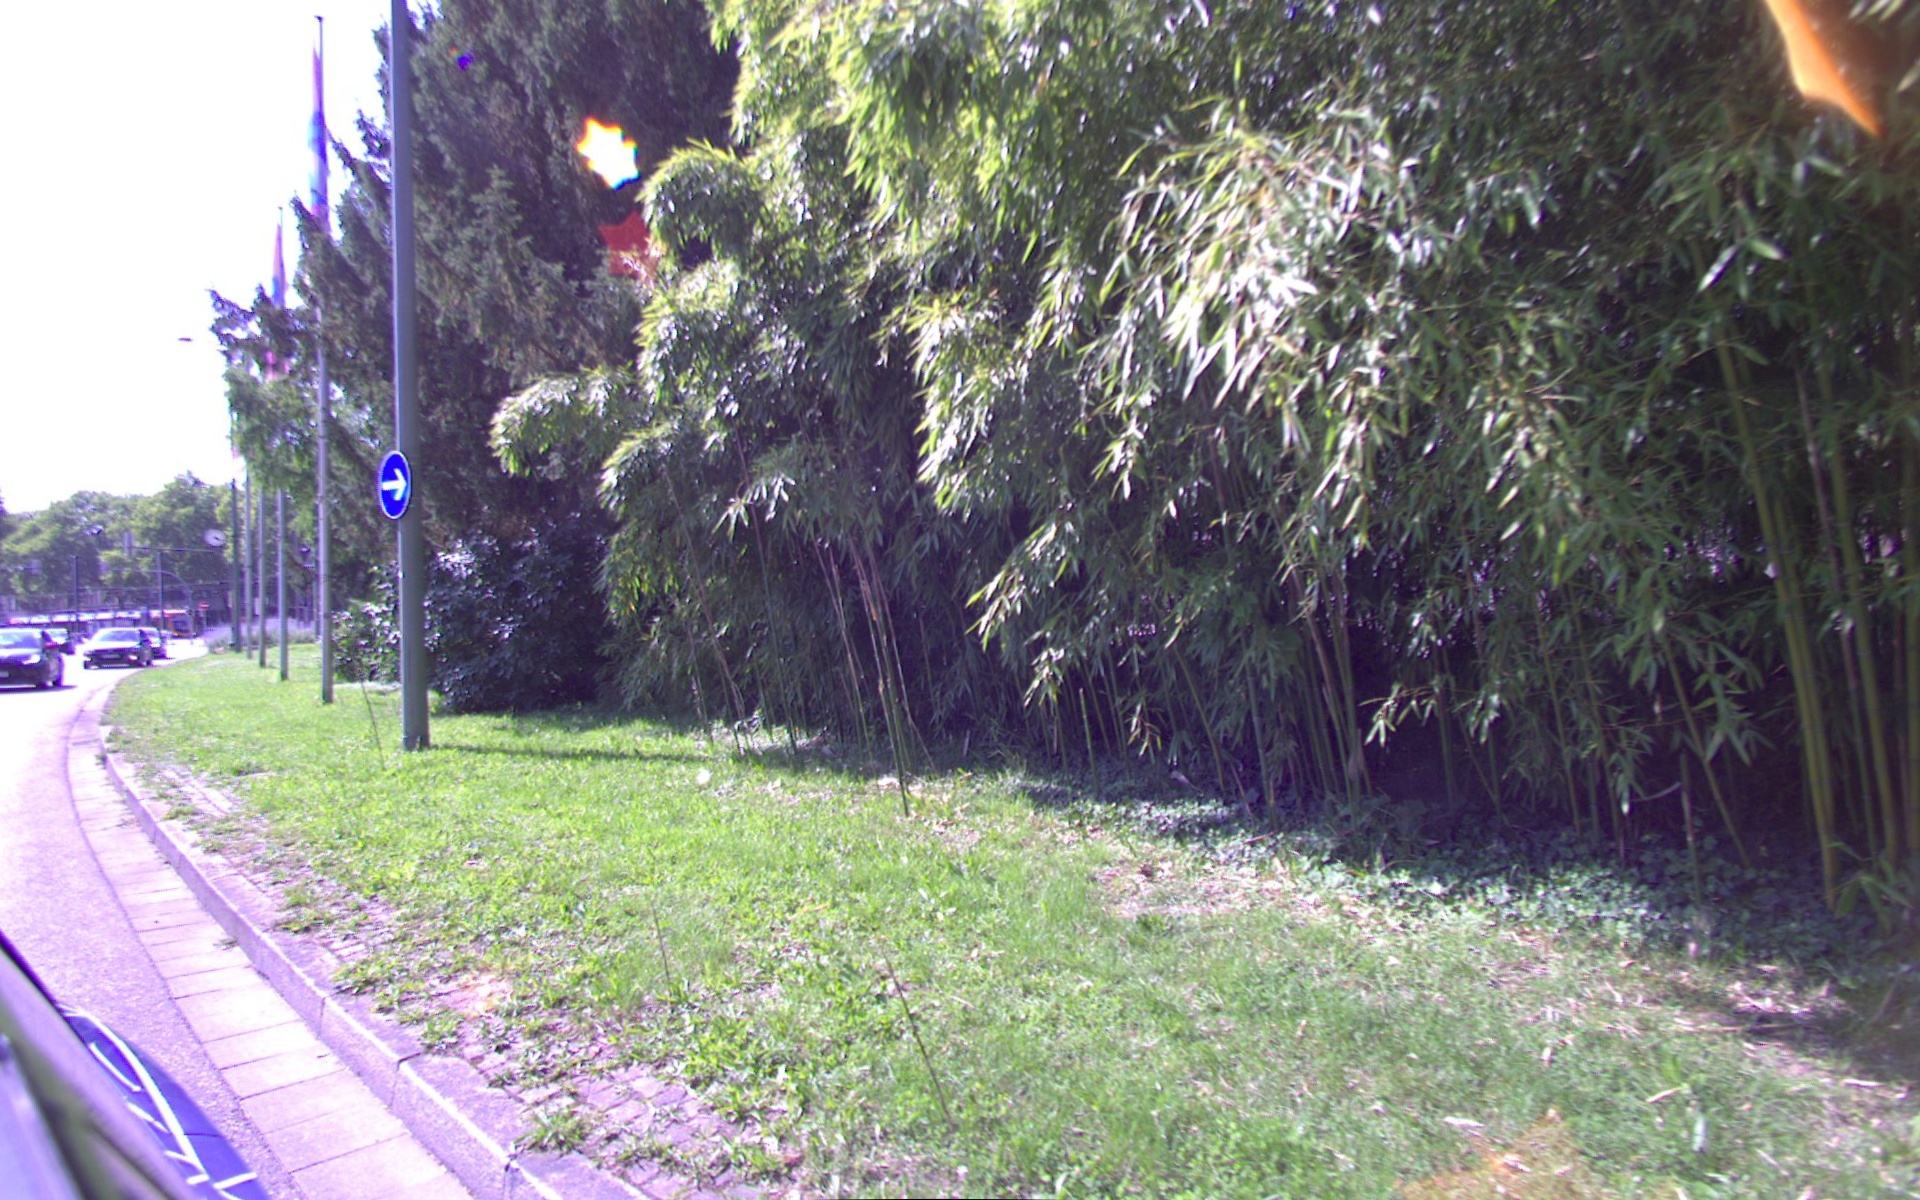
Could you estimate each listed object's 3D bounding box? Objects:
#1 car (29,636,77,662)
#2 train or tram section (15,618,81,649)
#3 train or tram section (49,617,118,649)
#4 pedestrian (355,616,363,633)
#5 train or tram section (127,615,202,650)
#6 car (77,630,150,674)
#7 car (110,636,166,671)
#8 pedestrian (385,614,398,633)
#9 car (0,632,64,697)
[{"bbox_3d":[-52.720,2.822,58.891,1.763,1.471,4.096,0,-2,-38],"label":"car"},{"bbox_3d":[-103.532,3.801,114.822,8.696,3.292,2.709,-2,0,28],"label":"train or tram section"},{"bbox_3d":[-95.877,3.625,110.678,8.696,3.292,2.709,-2,0,28],"label":"train or tram section"},{"bbox_3d":[-60.281,2.438,101.484,0.556,1.650,0.601,-1,-1,-10],"label":"pedestrian"},{"bbox_3d":[-80.571,3.273,102.465,8.696,3.292,2.709,-2,0,28],"label":"train or tram section"},{"bbox_3d":[-31.438,1.890,37.669,1.763,1.504,4.098,0,-2,-36],"label":"car"},{"bbox_3d":[-37.787,2.423,46.604,1.763,1.481,4.098,0,-2,-36],"label":"car"},{"bbox_3d":[-55.087,2.304,98.037,0.668,1.850,0.816,-1,-1,28],"label":"pedestrian"},{"bbox_3d":[-23.211,1.521,24.589,1.763,1.463,4.290,0,-2,-36],"label":"car"}]
